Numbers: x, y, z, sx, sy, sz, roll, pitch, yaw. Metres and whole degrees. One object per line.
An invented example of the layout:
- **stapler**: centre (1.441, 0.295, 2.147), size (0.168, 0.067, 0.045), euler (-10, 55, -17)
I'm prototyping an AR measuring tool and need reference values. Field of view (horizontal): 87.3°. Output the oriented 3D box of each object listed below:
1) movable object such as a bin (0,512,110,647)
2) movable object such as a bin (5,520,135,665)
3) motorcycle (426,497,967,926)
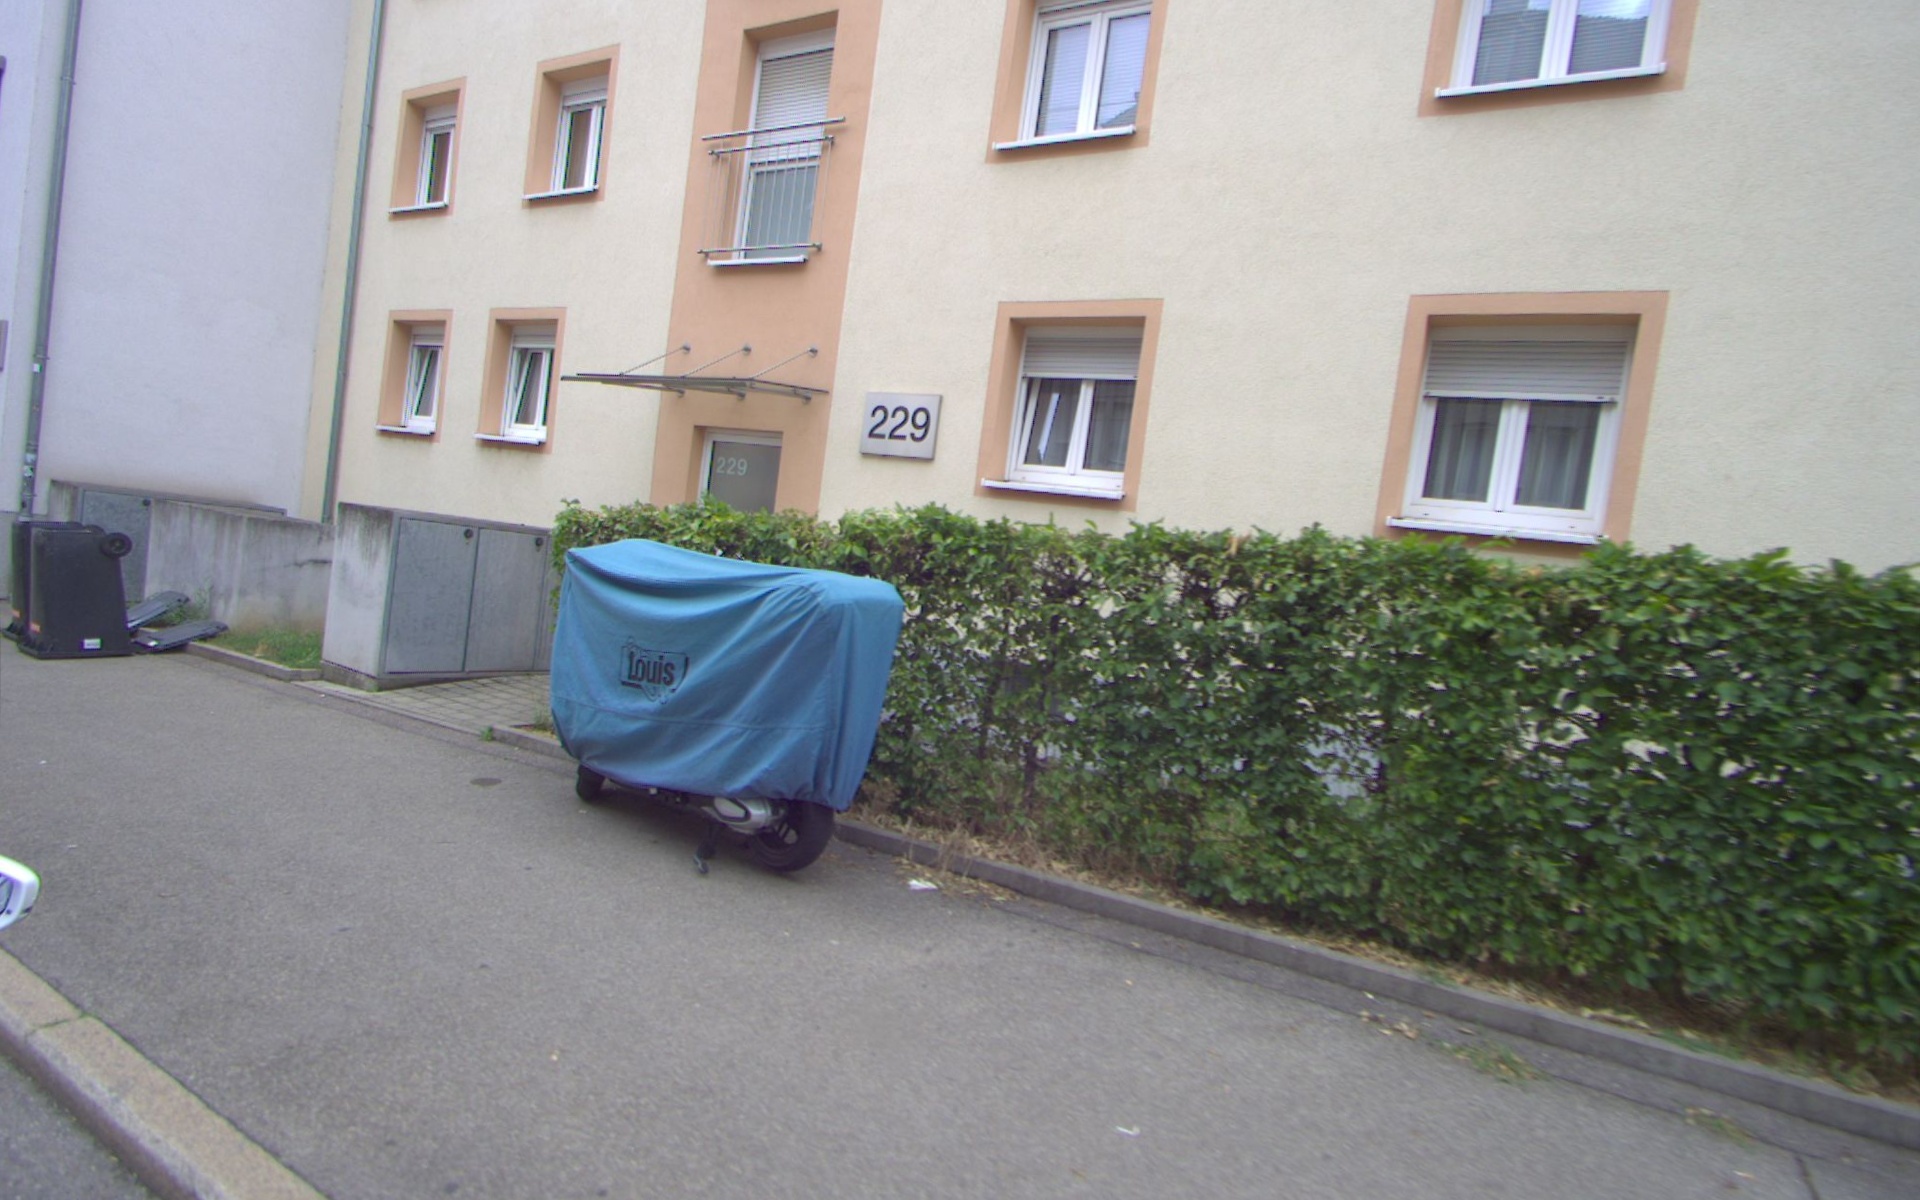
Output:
- **movable object such as a bin**: centre (-7.969, -0.171, 8.811), size (0.533, 1.094, 0.611), euler (7, 2, 33)
- **movable object such as a bin**: centre (-7.282, -0.057, 8.234), size (0.680, 1.094, 0.589), euler (7, 2, 33)
- **motorcycle**: centre (-1.317, 0.364, 4.687), size (2.511, 1.475, 0.839), euler (7, 1, 32)
